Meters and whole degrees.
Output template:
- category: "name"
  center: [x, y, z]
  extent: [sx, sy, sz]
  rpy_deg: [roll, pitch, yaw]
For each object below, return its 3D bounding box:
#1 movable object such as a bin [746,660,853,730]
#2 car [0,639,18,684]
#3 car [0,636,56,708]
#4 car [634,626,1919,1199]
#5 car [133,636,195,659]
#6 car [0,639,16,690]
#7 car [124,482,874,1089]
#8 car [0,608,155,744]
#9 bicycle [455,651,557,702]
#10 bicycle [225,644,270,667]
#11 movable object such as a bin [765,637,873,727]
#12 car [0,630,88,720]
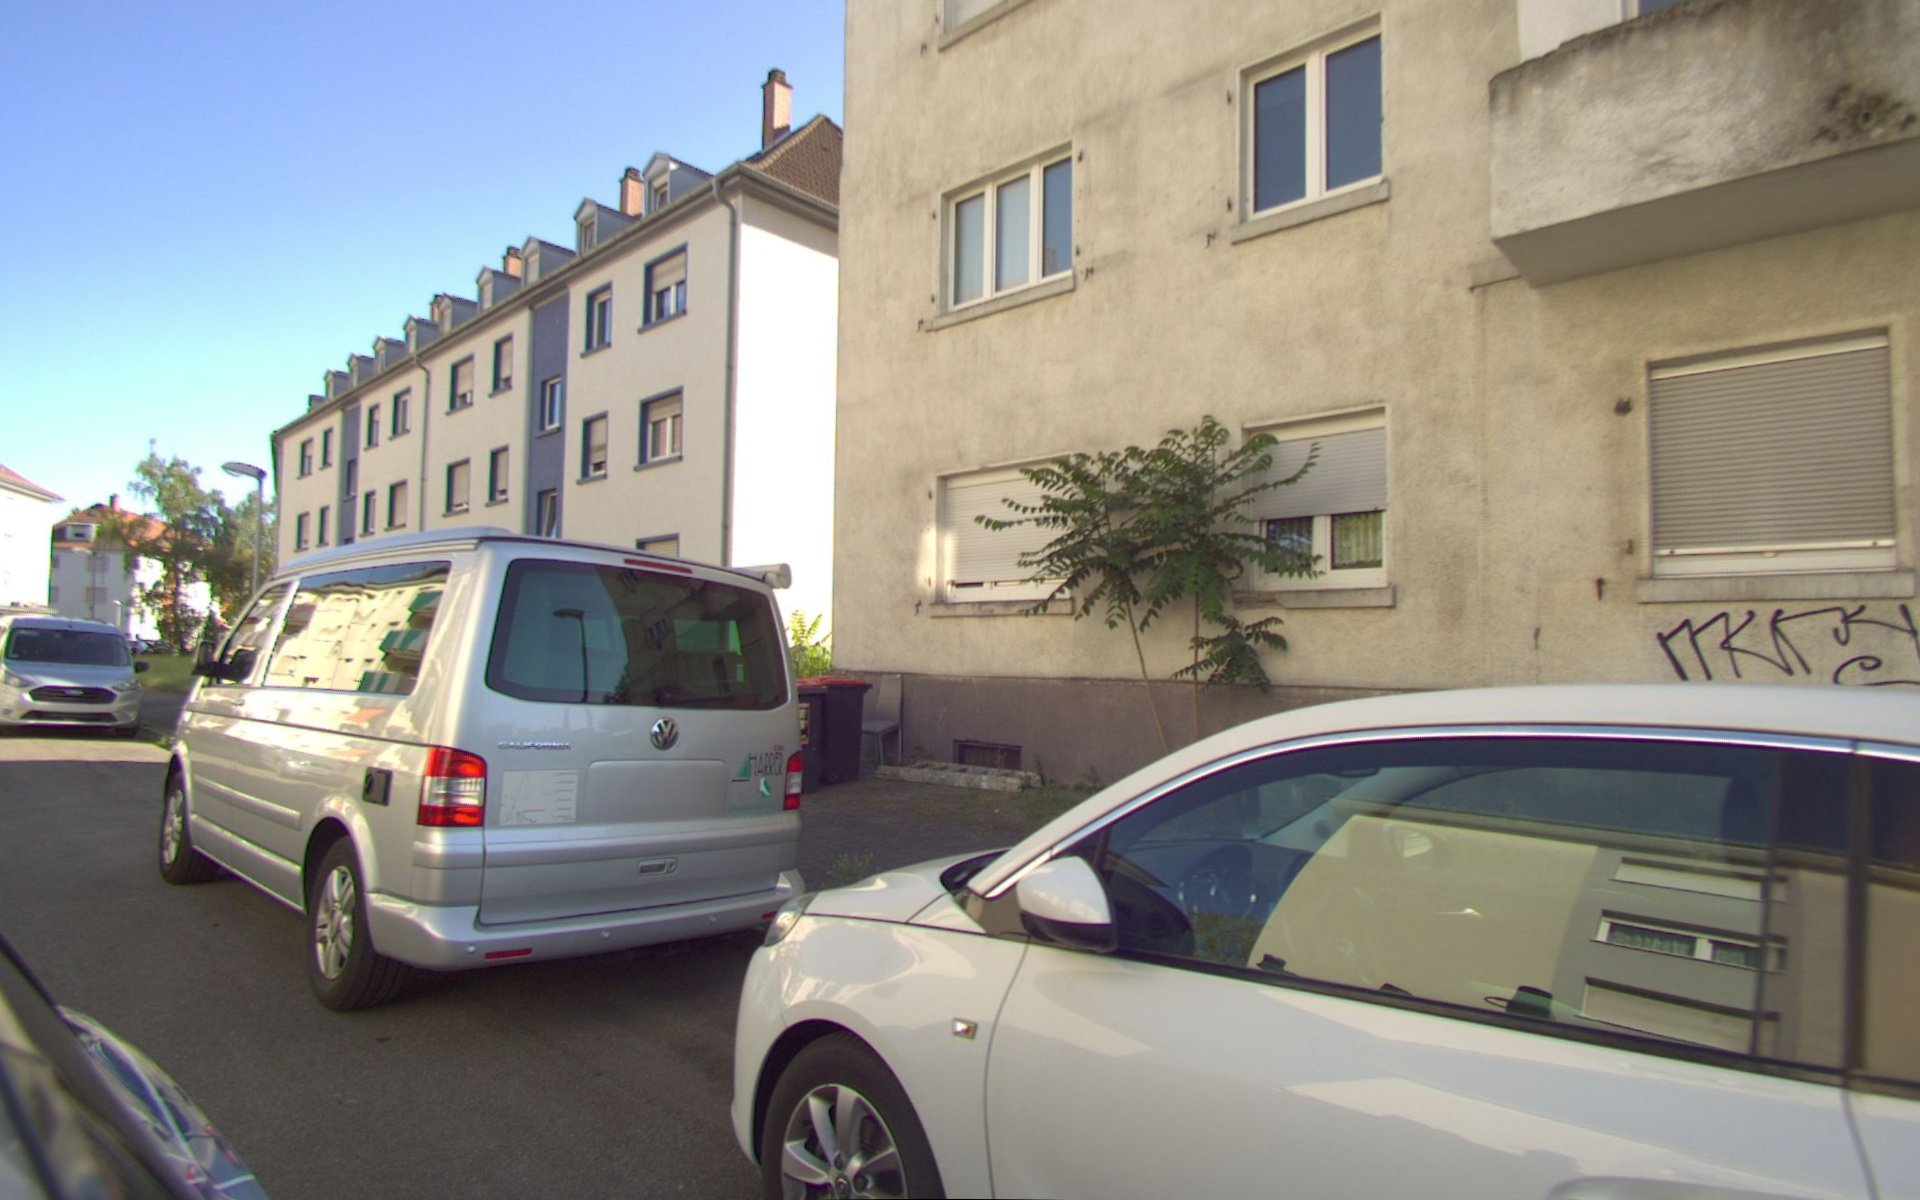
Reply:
- category: "movable object such as a bin"
  center: [-2.517, 1.465, 15.853]
  extent: [1.204, 1.007, 1.117]
  rpy_deg: [-1, -4, 43]
- category: "car"
  center: [-34.215, 2.095, 35.351]
  extent: [1.720, 1.528, 3.987]
  rpy_deg: [7, -7, -42]
- category: "car"
  center: [-22.067, 1.599, 23.128]
  extent: [3.702, 1.530, 1.626]
  rpy_deg: [-2, -8, 43]
- category: "car"
  center: [1.050, 0.844, 2.116]
  extent: [3.722, 1.470, 1.668]
  rpy_deg: [-2, -6, 44]
- category: "car"
  center: [-56.557, 3.386, 71.958]
  extent: [1.551, 1.436, 3.984]
  rpy_deg: [3, -5, -7]
- category: "car"
  center: [-29.774, 1.865, 30.309]
  extent: [4.397, 1.470, 1.878]
  rpy_deg: [-2, -7, 44]
- category: "car"
  center: [-2.875, 0.722, 5.634]
  extent: [4.855, 1.948, 1.930]
  rpy_deg: [-2, -6, 42]
- category: "car"
  center: [-14.464, 1.179, 16.076]
  extent: [4.948, 1.844, 1.780]
  rpy_deg: [-2, -7, 43]
- category: "bicycle"
  center: [-10.067, 1.675, 22.506]
  extent: [0.500, 0.969, 2.045]
  rpy_deg: [-2, -1, 42]
- category: "bicycle"
  center: [-33.631, 2.623, 47.801]
  extent: [1.707, 0.997, 0.463]
  rpy_deg: [-1, -1, -33]
- category: "movable object such as a bin"
  center: [-2.409, 1.380, 17.293]
  extent: [1.437, 1.444, 1.117]
  rpy_deg: [-1, -4, 43]
- category: "car"
  center: [-18.732, 1.435, 19.975]
  extent: [4.163, 1.603, 1.655]
  rpy_deg: [-2, -8, 42]
